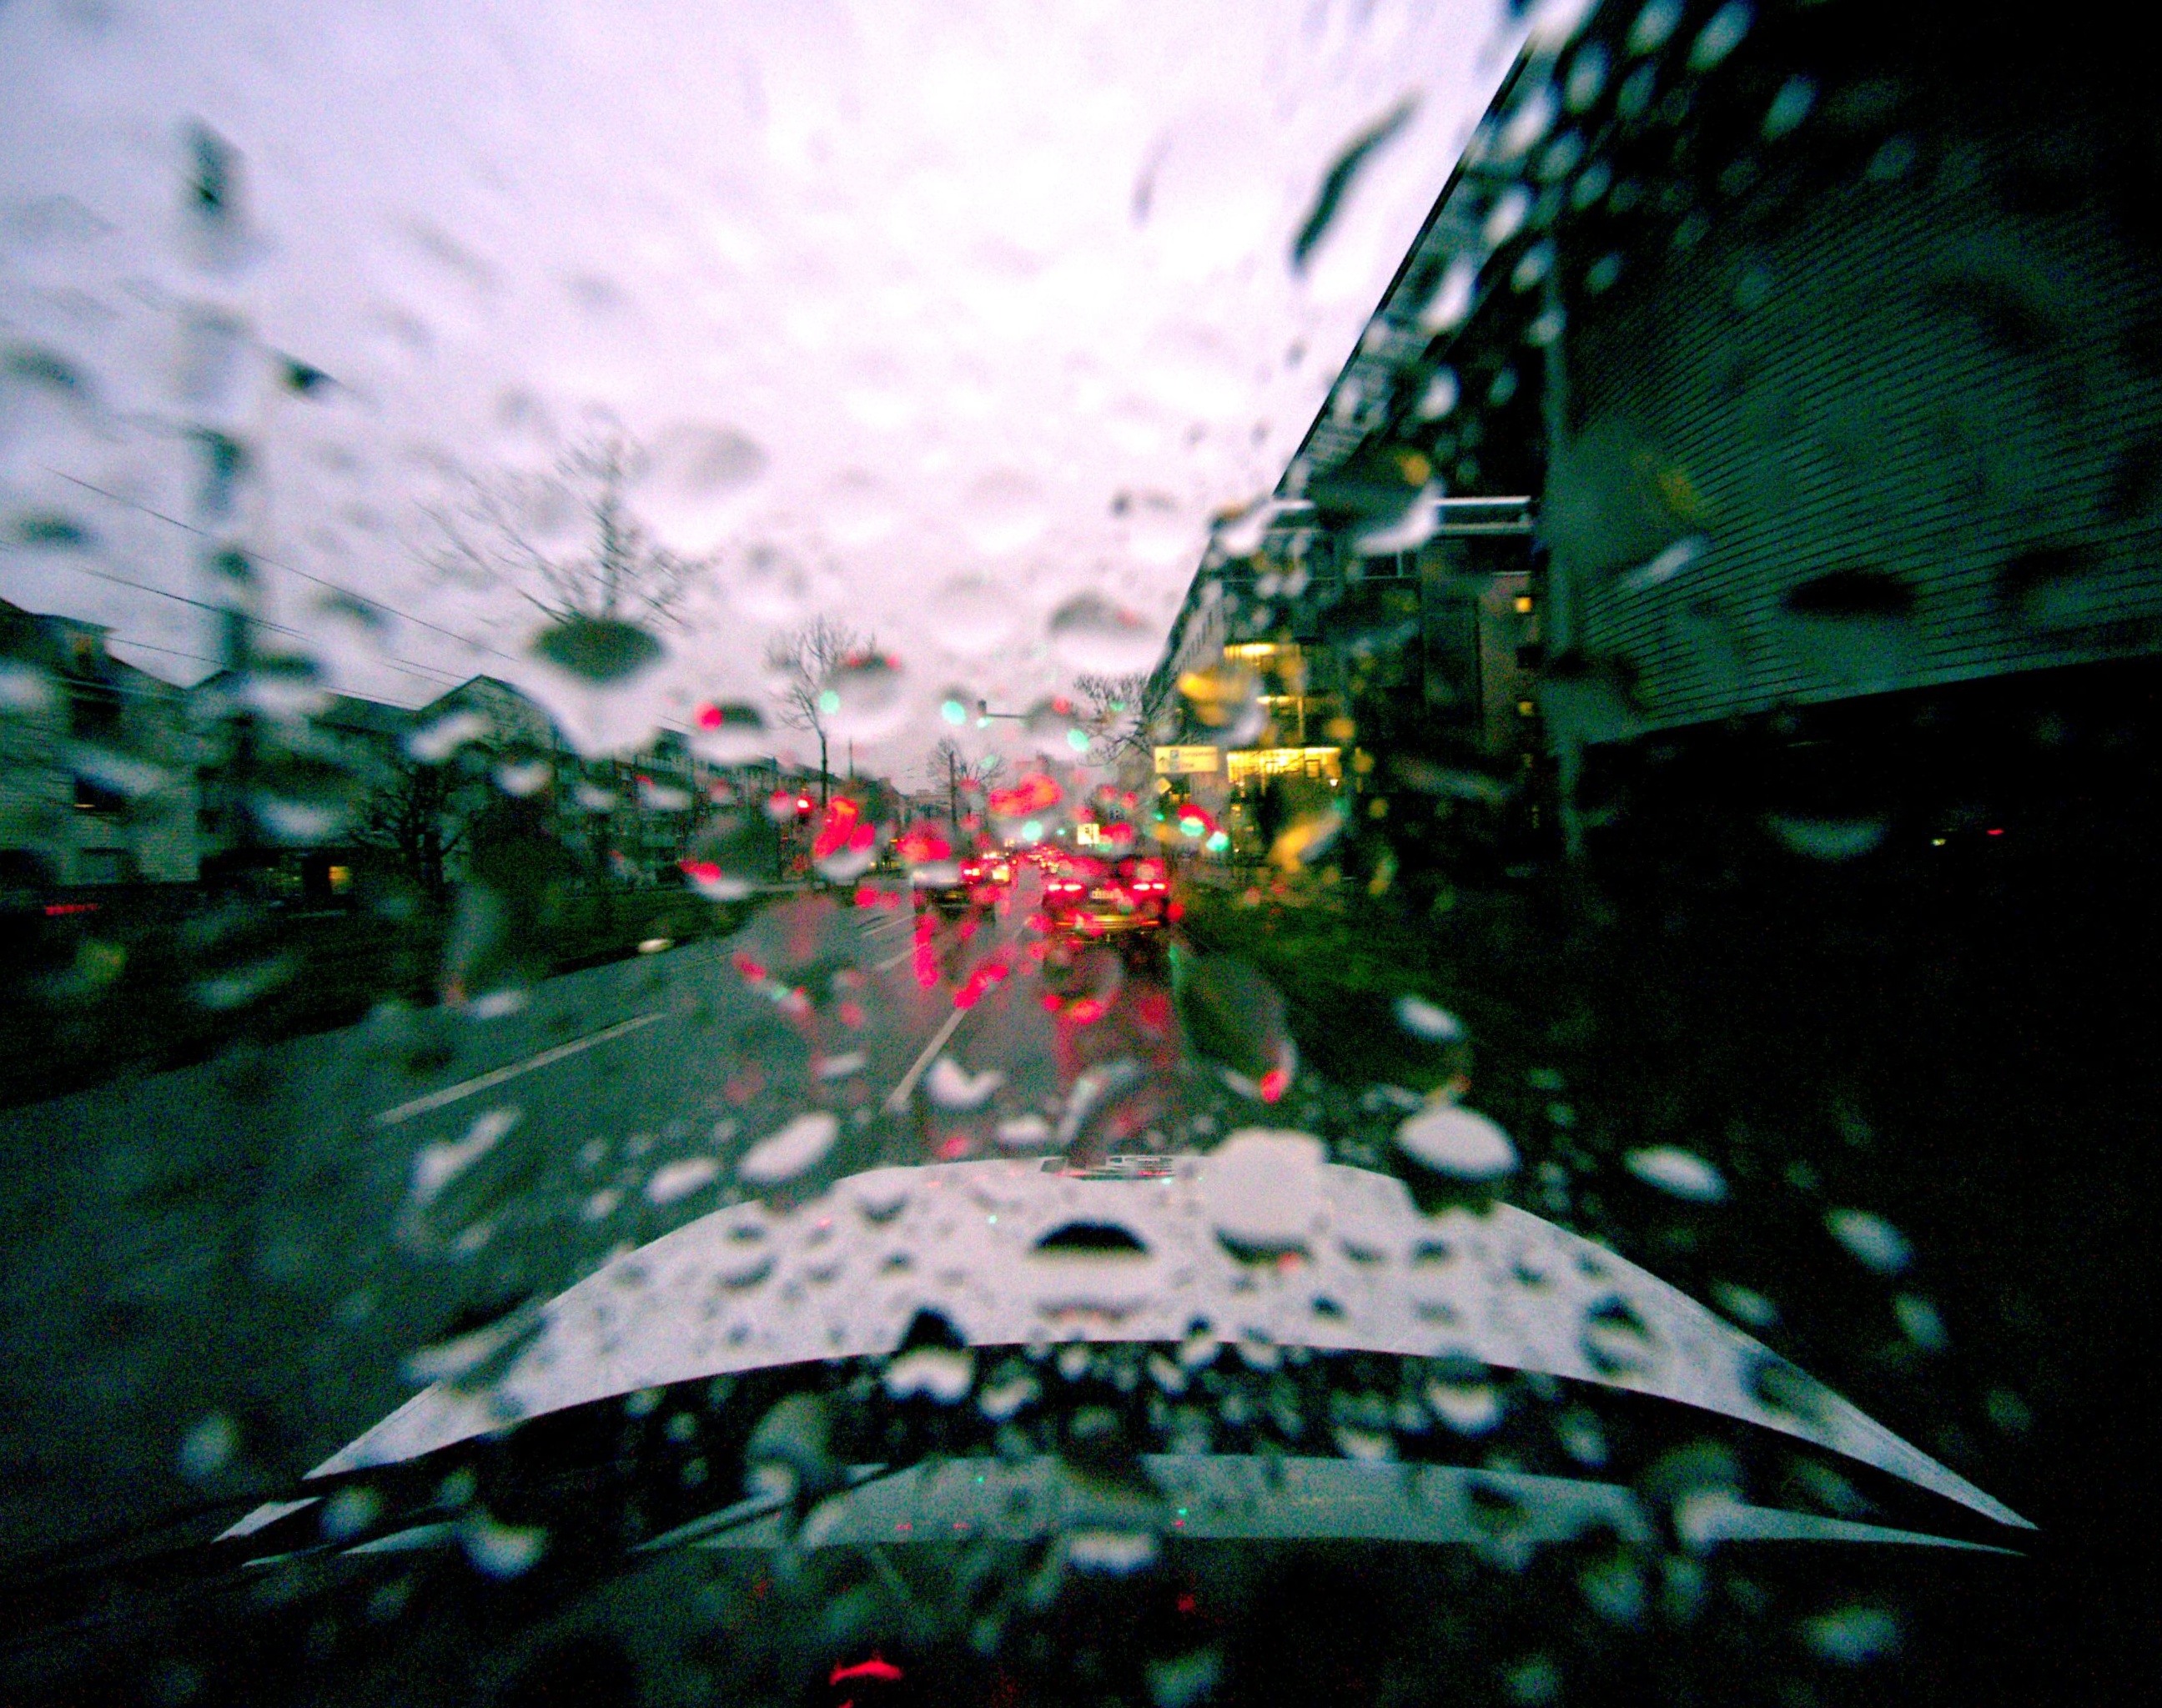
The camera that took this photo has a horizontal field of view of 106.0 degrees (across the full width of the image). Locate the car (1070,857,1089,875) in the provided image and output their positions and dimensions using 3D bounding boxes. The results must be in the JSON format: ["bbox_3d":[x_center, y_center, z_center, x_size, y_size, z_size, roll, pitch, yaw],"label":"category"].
[{"bbox_3d":[-0.127,1.121,78.115,1.568,1.705,3.705,0,0,3],"label":"car"}]

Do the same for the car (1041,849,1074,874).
[{"bbox_3d":[-1.470,0.467,51.703,1.860,1.543,3.613,0,0,2],"label":"car"}]

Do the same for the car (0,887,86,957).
[{"bbox_3d":[-25.232,1.564,17.492,1.875,1.502,4.787,0,0,-1],"label":"car"}]

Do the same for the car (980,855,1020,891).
[{"bbox_3d":[-3.959,0.901,40.143,1.685,1.635,3.472,0,0,-1],"label":"car"}]

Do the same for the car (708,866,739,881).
[{"bbox_3d":[-33.207,1.761,75.625,1.440,1.287,3.384,0,0,-1],"label":"car"}]

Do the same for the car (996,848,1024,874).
[{"bbox_3d":[-5.040,0.498,58.511,1.656,1.759,3.568,0,0,1],"label":"car"}]

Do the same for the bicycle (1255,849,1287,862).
[{"bbox_3d":[11.115,0.078,47.706,1.711,0.745,0.656,0,0,33],"label":"bicycle"}]

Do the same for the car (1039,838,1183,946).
[{"bbox_3d":[0.395,0.523,13.108,1.988,1.483,3.698,0,0,-1],"label":"car"}]

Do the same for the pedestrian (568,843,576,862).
[{"bbox_3d":[-32.475,-0.088,51.962,0.348,1.184,0.429,0,0,-41],"label":"pedestrian"}]

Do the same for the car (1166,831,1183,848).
[{"bbox_3d":[9.831,-1.496,85.865,1.620,1.759,3.426,0,0,4],"label":"car"}]

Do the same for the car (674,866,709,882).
[{"bbox_3d":[-33.122,1.685,69.316,1.440,1.287,3.384,0,0,-1],"label":"car"}]

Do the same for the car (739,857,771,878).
[{"bbox_3d":[-33.854,1.371,84.720,1.990,2.013,3.994,0,0,-4],"label":"car"}]

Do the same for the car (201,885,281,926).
[{"bbox_3d":[-31.075,1.854,30.092,3.719,1.337,1.463,-1,0,35],"label":"car"}]

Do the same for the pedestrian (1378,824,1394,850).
[{"bbox_3d":[19.754,-1.094,52.747,0.804,1.654,0.726,0,0,1],"label":"pedestrian"}]

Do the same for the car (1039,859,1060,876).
[{"bbox_3d":[-2.857,1.188,74.156,1.552,1.460,3.114,0,0,3],"label":"car"}]

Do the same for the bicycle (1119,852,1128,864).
[{"bbox_3d":[3.485,0.316,66.619,0.543,0.965,1.344,0,0,-3],"label":"bicycle"}]

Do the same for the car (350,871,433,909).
[{"bbox_3d":[-30.824,1.574,36.412,3.749,1.555,1.753,0,0,32],"label":"car"}]

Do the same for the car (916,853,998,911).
[{"bbox_3d":[-3.314,0.695,22.497,1.813,1.450,3.996,0,0,-2],"label":"car"}]

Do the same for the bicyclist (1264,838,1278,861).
[{"bbox_3d":[11.125,-0.262,47.731,0.615,1.330,0.569,0,0,32],"label":"bicyclist"}]

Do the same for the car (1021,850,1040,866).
[{"bbox_3d":[-6.367,0.440,103.063,1.986,2.013,4.001,0,0,1],"label":"car"}]
